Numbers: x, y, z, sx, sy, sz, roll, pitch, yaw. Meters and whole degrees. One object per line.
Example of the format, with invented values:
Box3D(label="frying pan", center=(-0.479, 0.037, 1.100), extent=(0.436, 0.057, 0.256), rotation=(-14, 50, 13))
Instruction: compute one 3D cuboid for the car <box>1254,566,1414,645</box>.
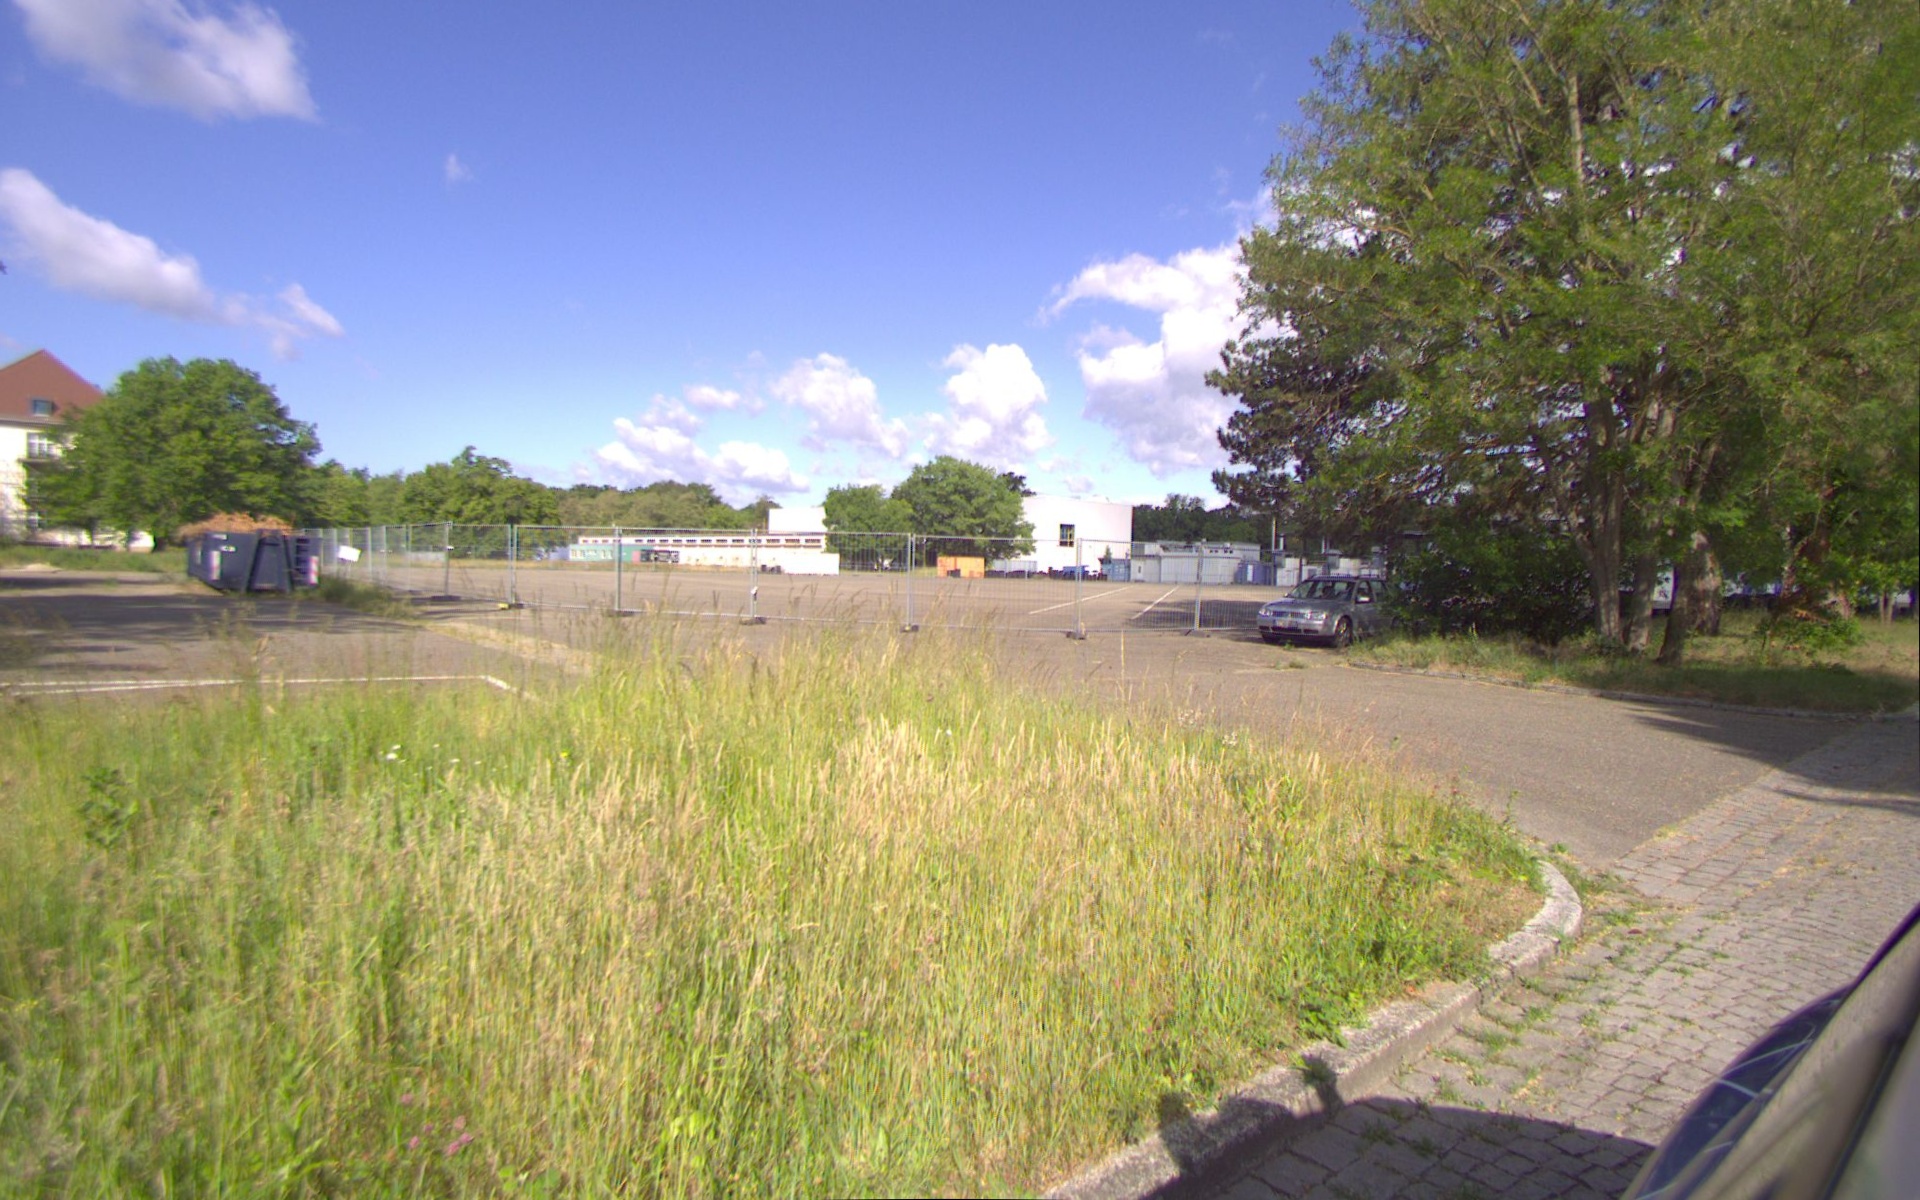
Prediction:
Box3D(label="car", center=(7.902, 0.072, 21.205), extent=(3.921, 1.461, 1.576), rotation=(0, 3, -44))
